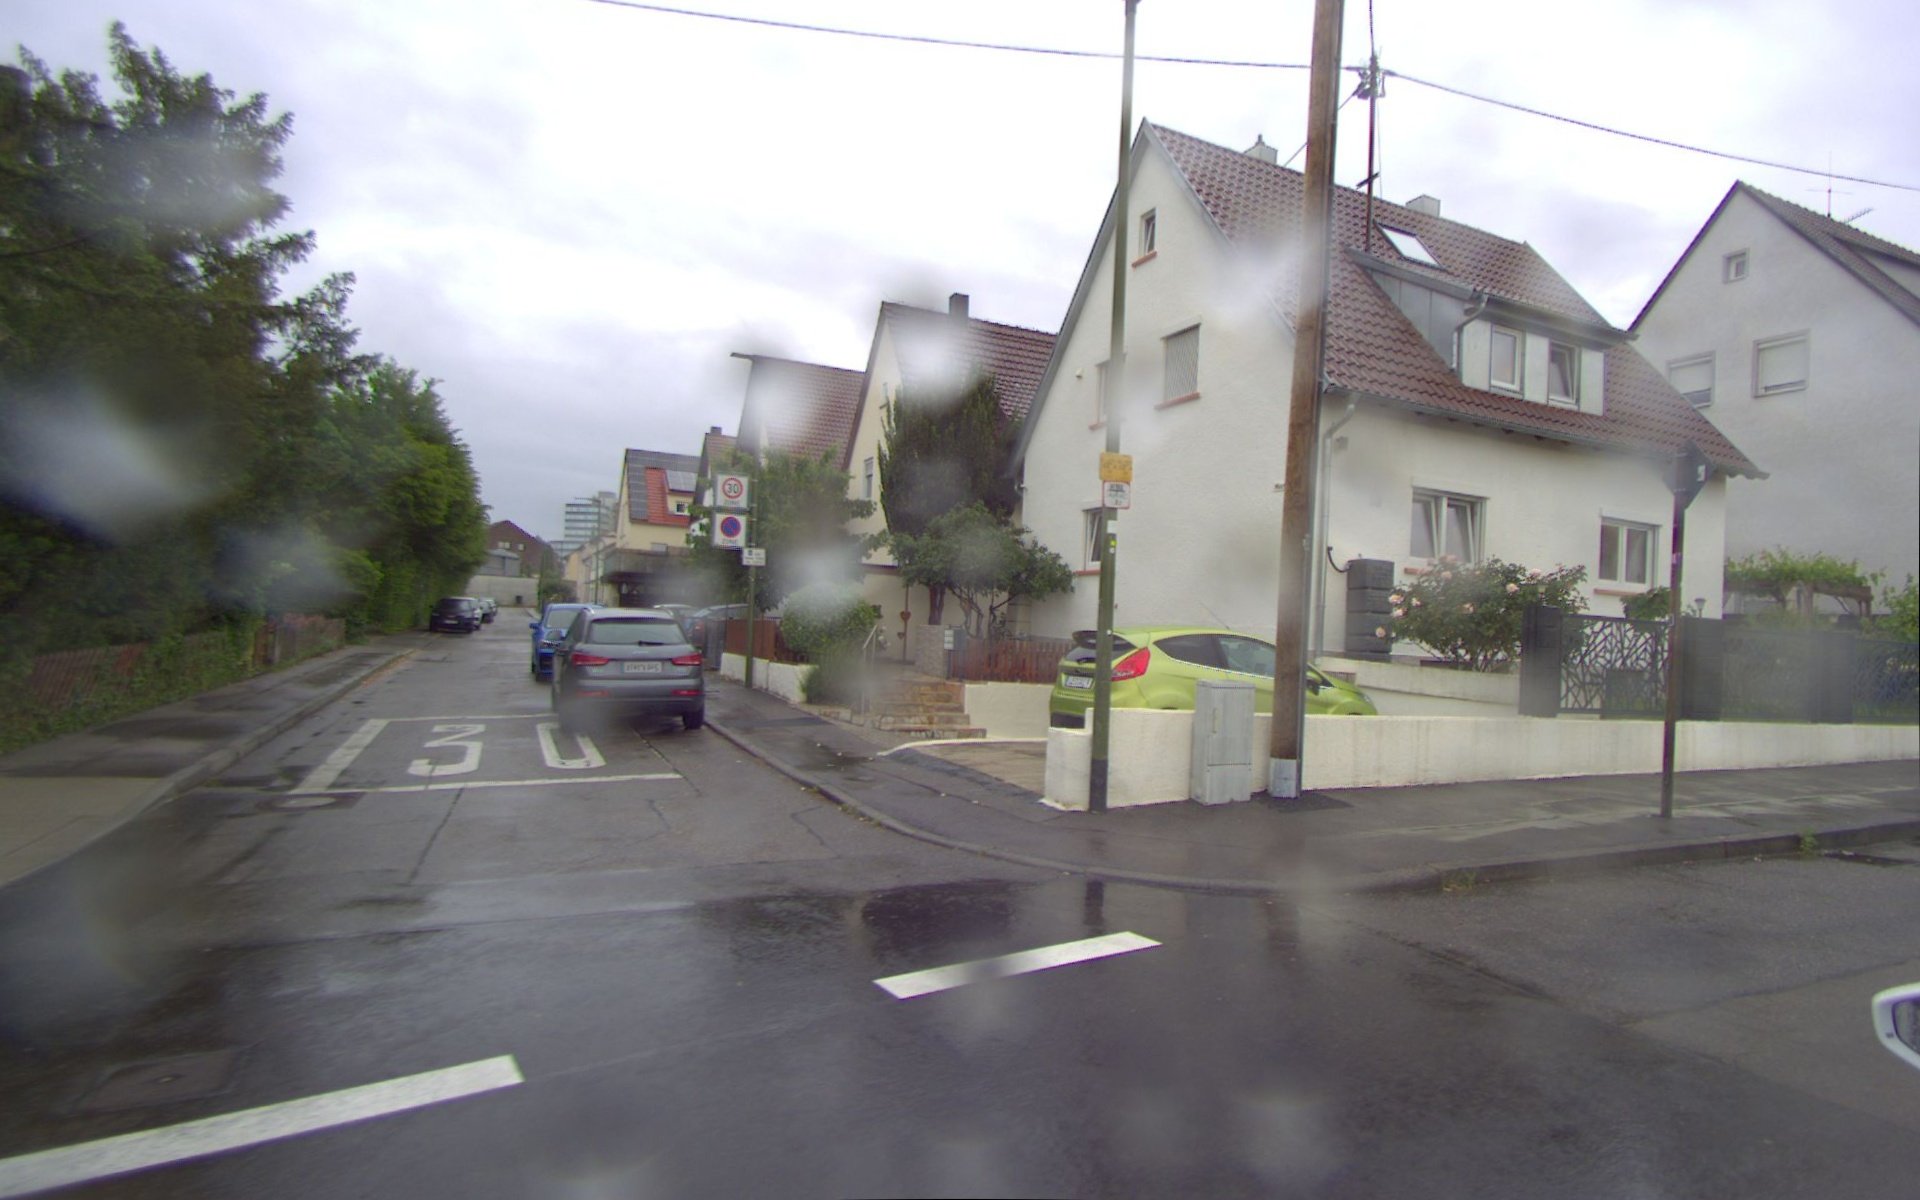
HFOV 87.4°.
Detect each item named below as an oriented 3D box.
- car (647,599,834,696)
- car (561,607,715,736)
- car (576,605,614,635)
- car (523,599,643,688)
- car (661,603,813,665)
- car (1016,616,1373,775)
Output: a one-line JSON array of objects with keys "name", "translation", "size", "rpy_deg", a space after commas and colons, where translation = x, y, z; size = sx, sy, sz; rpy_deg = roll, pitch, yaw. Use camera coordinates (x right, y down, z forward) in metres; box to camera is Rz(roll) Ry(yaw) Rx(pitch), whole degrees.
[{"name": "car", "translation": [-5.137, 1.108, 23.472], "size": [3.880, 2.040, 2.001], "rpy_deg": [3, 1, -26]}, {"name": "car", "translation": [-4.647, 0.886, 14.155], "size": [1.759, 1.486, 3.835], "rpy_deg": [1, 0, -22]}, {"name": "car", "translation": [-22.821, 1.283, 62.695], "size": [1.972, 1.739, 3.978], "rpy_deg": [2, -3, -24]}, {"name": "car", "translation": [-8.451, 0.910, 22.326], "size": [1.903, 1.594, 3.985], "rpy_deg": [7, -3, -27]}, {"name": "car", "translation": [-6.297, 0.948, 28.313], "size": [3.877, 1.598, 2.010], "rpy_deg": [1, 0, -24]}, {"name": "car", "translation": [2.557, 1.018, 11.047], "size": [3.409, 1.486, 1.774], "rpy_deg": [3, -1, -24]}]
